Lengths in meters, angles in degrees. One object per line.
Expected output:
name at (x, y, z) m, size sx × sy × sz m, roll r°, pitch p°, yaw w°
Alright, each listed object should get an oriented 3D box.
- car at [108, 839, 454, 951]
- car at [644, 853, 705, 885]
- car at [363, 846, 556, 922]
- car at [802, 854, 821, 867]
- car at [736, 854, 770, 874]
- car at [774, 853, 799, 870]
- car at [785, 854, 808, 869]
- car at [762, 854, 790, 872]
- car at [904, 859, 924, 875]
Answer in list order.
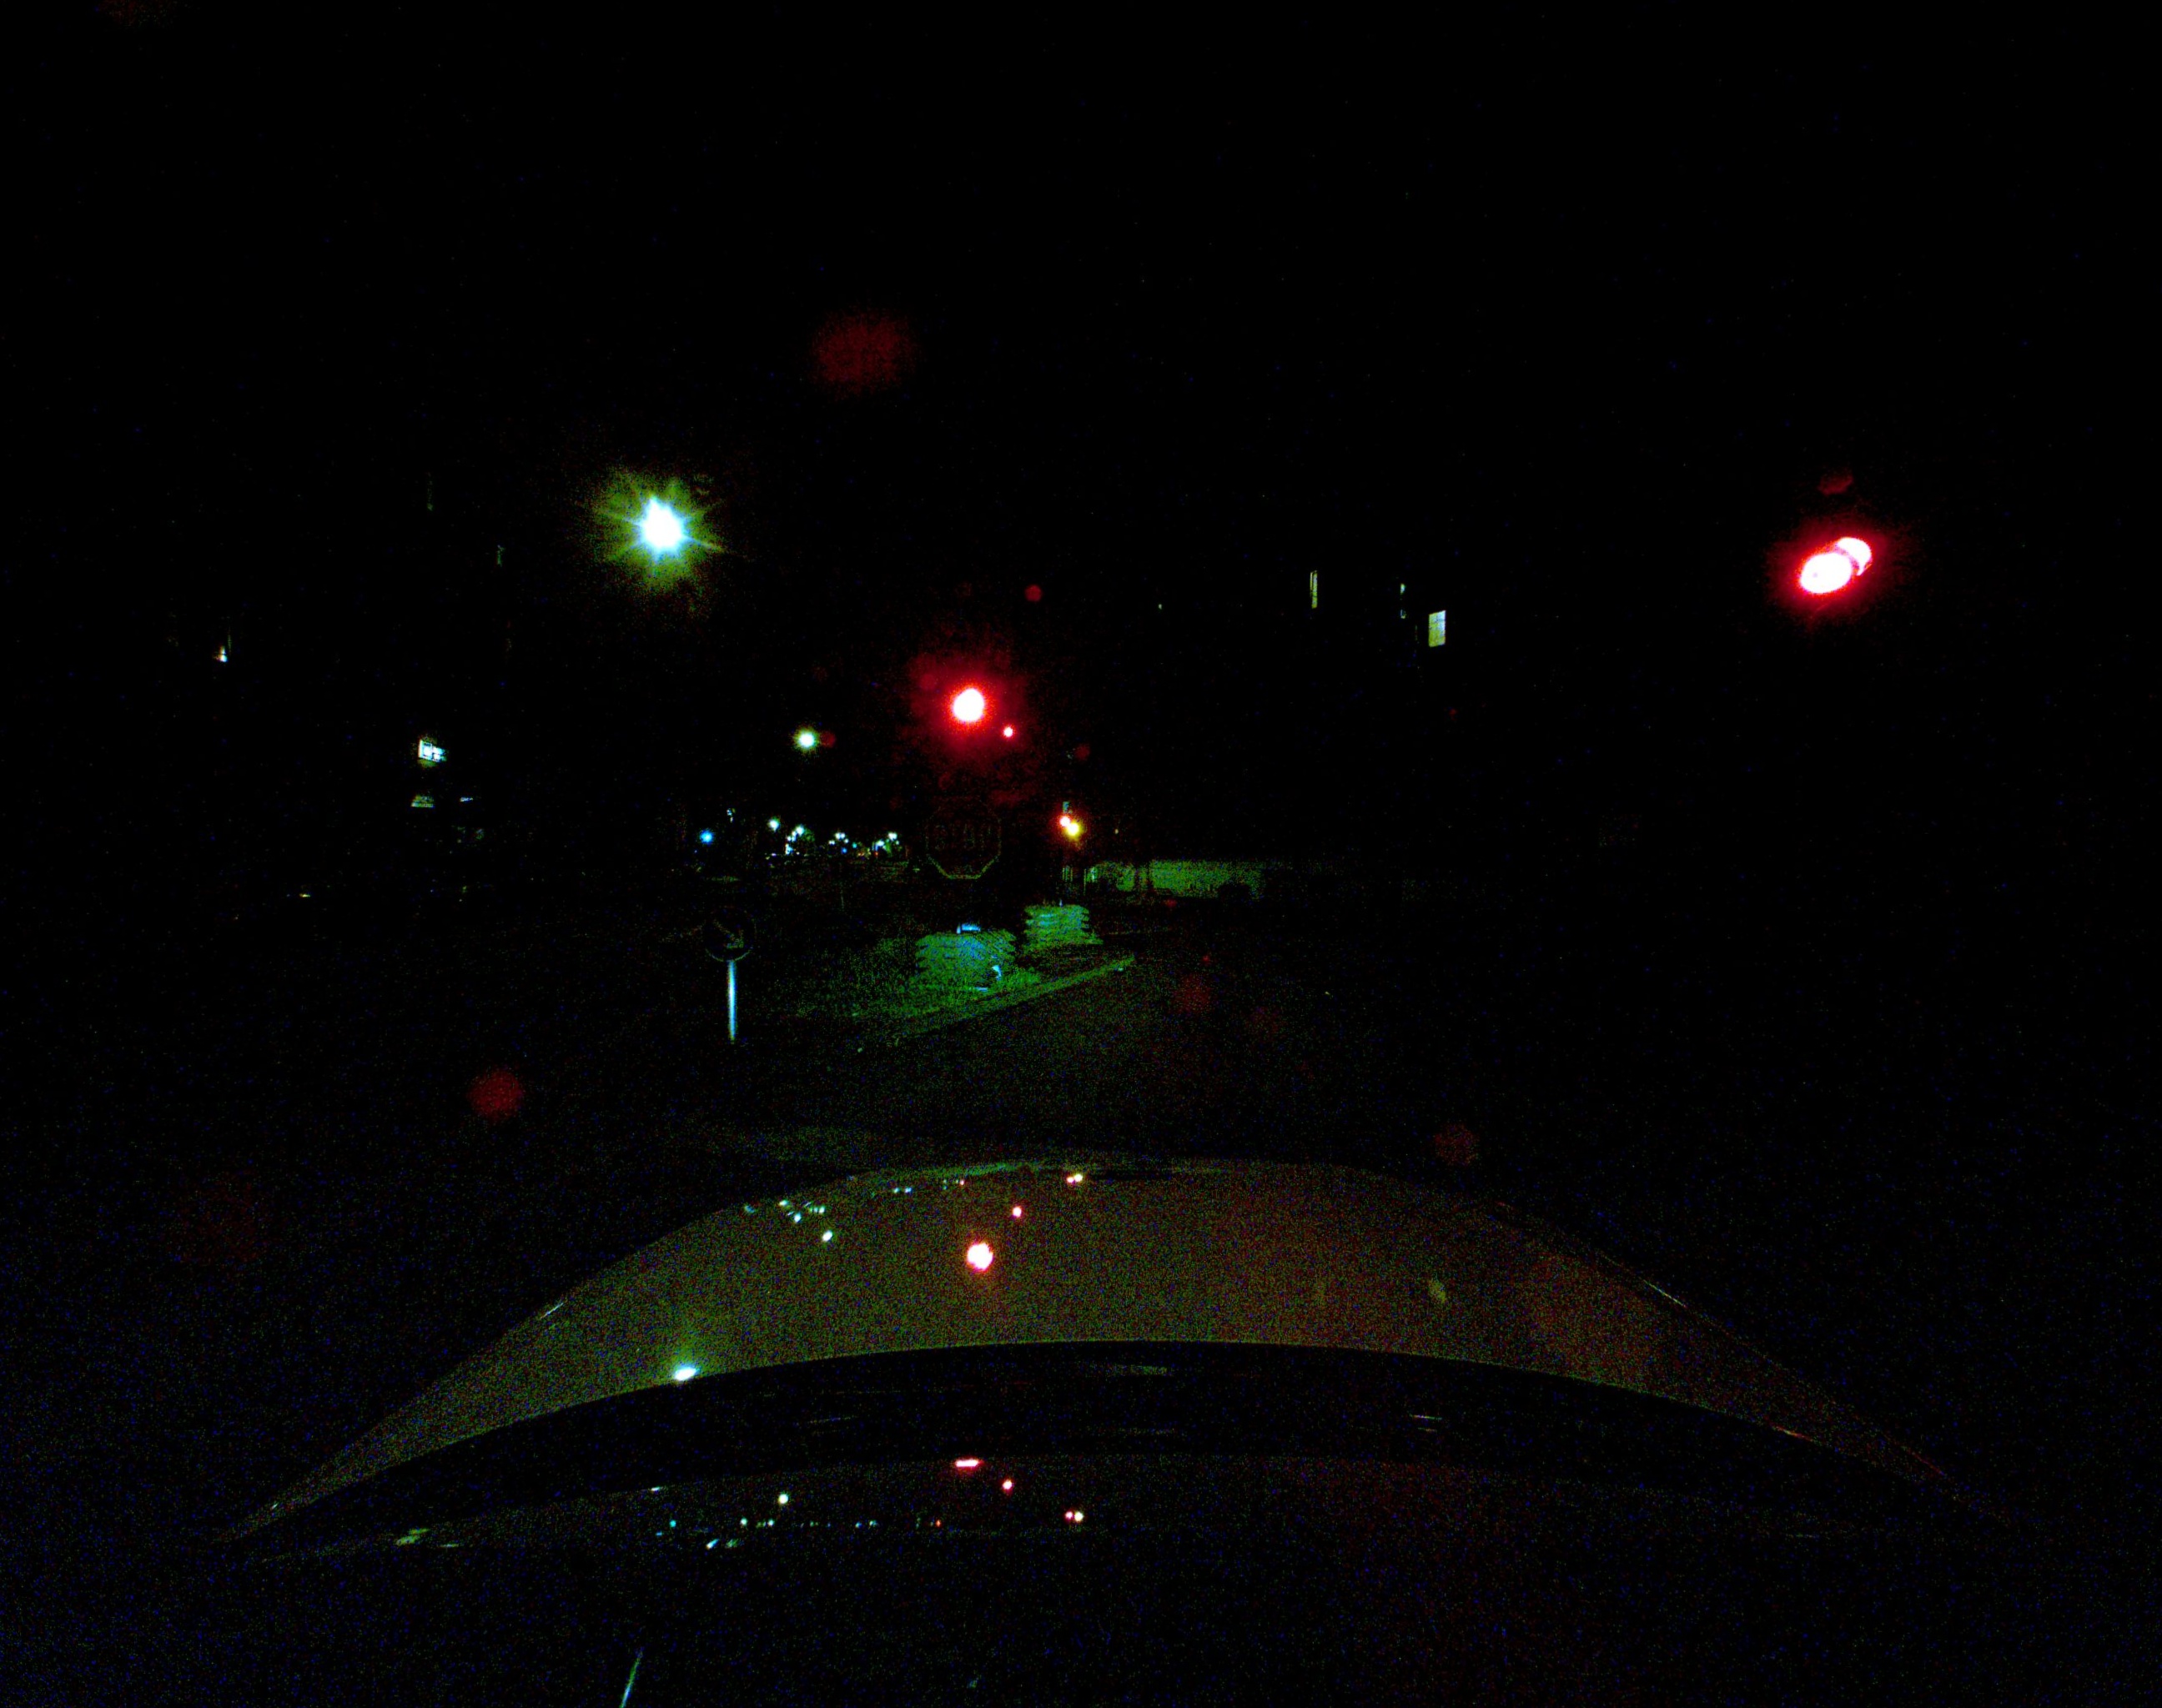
car at (-12.591, 0.576, 13.339) m, size 1.901 × 1.471 × 4.432 m, roll 3°, pitch -1°, yaw -13°
car at (-19.010, 0.682, 38.269) m, size 1.653 × 1.431 × 3.982 m, roll 1°, pitch 0°, yaw -13°
car at (-13.666, 0.624, 18.260) m, size 1.806 × 1.481 × 4.302 m, roll 1°, pitch -1°, yaw -14°
car at (-30.861, 0.745, 93.188) m, size 1.653 × 1.431 × 3.982 m, roll 1°, pitch 0°, yaw -13°
car at (-23.797, 0.718, 59.158) m, size 1.653 × 1.431 × 3.982 m, roll 1°, pitch 0°, yaw -13°
car at (-26.476, 0.669, 73.281) m, size 1.653 × 1.431 × 3.982 m, roll 1°, pitch 0°, yaw -13°
car at (-27.896, 0.734, 79.837) m, size 1.653 × 1.431 × 3.982 m, roll 1°, pitch 0°, yaw -13°
car at (-25.186, 0.743, 67.282) m, size 1.653 × 1.431 × 3.982 m, roll 1°, pitch 0°, yaw -13°
car at (-14.870, 1.149, 72.414) m, size 1.652 × 1.431 × 3.984 m, roll 1°, pitch 0°, yaw -12°
